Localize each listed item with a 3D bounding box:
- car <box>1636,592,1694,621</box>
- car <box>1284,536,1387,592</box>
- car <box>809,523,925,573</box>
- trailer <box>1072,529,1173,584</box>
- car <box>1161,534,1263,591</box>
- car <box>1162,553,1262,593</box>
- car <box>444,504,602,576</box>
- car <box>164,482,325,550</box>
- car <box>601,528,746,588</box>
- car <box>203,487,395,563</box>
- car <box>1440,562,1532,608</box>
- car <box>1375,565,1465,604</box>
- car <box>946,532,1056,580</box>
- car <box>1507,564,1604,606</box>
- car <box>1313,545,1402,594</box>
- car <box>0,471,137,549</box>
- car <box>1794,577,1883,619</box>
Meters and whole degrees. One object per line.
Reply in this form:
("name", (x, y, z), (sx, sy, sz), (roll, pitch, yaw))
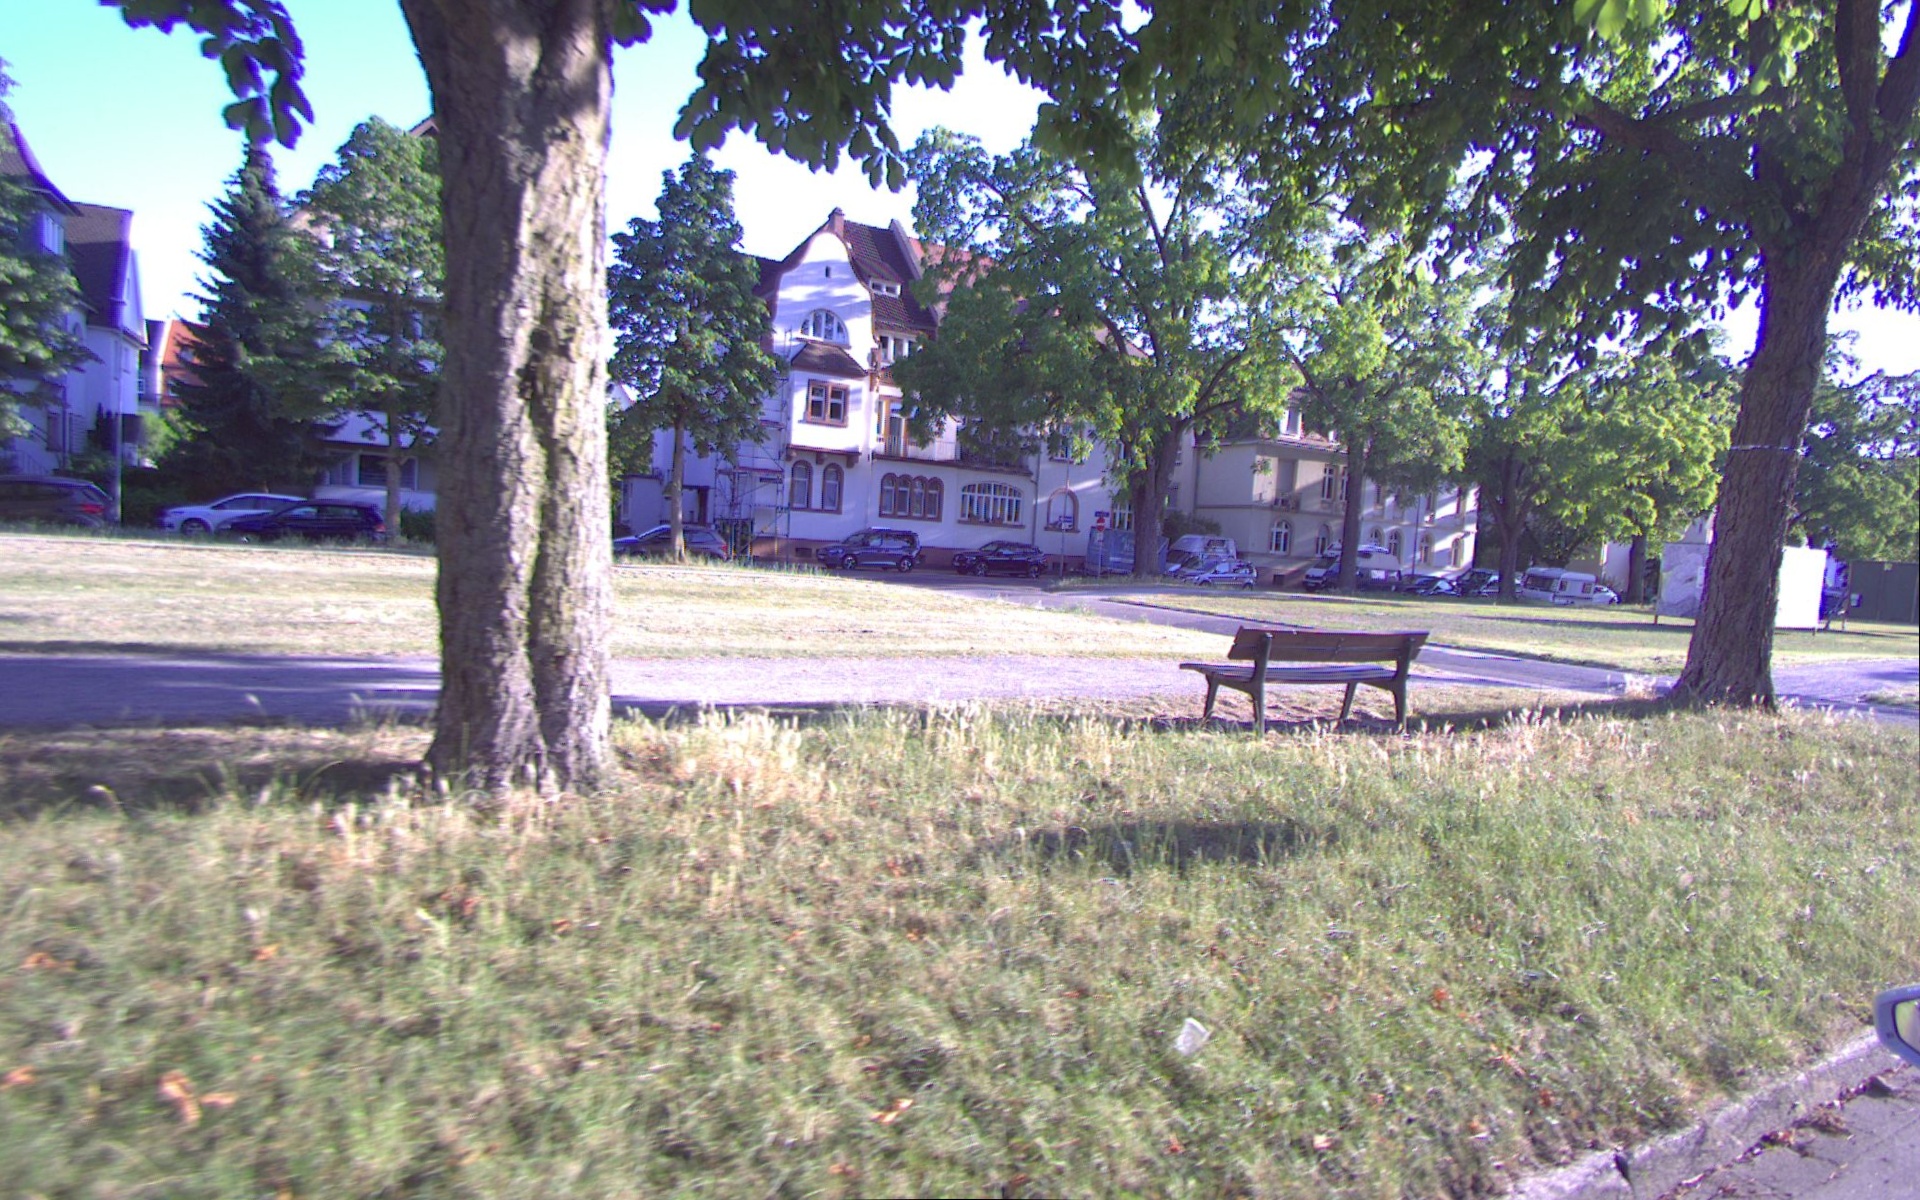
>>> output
("car", (54.491, 0.514, 77.641), (4.432, 2.040, 1.984), (2, 1, -30))
("car", (21.753, -2.043, 58.141), (5.750, 2.961, 2.426), (2, 1, -30))
("car", (-3.945, -2.203, 42.763), (4.447, 1.901, 1.982), (1, 3, -33))
("trailer", (8.065, -2.156, 49.775), (4.668, 2.461, 1.984), (1, 3, -30))
("car", (13.292, -1.957, 52.882), (5.125, 2.709, 1.984), (1, 3, -30))
("car", (11.271, -1.201, 44.891), (4.262, 1.581, 1.677), (1, 3, -30))
("car", (-13.238, -1.807, 30.433), (4.203, 1.885, 1.984), (2, 4, -29))
("car", (-22.339, -2.601, 31.566), (3.956, 1.807, 1.982), (2, 4, -32))
("car", (-9.384, -1.366, 32.910), (4.203, 1.671, 1.984), (2, 4, -29))
("car", (-18.019, -2.040, 27.652), (4.203, 1.744, 1.984), (2, 4, -29))
("car", (29.113, -0.825, 55.566), (5.126, 2.280, 1.983), (1, 3, -30))
("car", (24.153, -0.808, 52.720), (4.430, 1.817, 1.984), (2, 3, -29))
("car", (1.928, -2.035, 46.485), (4.697, 1.979, 1.983), (1, 3, -31))
("car", (35.179, -0.884, 59.348), (5.393, 2.267, 2.522), (1, 3, -30))
("car", (19.817, -1.533, 50.041), (4.262, 2.205, 1.677), (1, 3, -30))
("car", (-22.929, -2.247, 24.586), (3.950, 1.706, 1.985), (2, 4, -28))
("car", (69.977, -0.130, 80.001), (6.810, 3.033, 3.146), (2, 1, -29))
